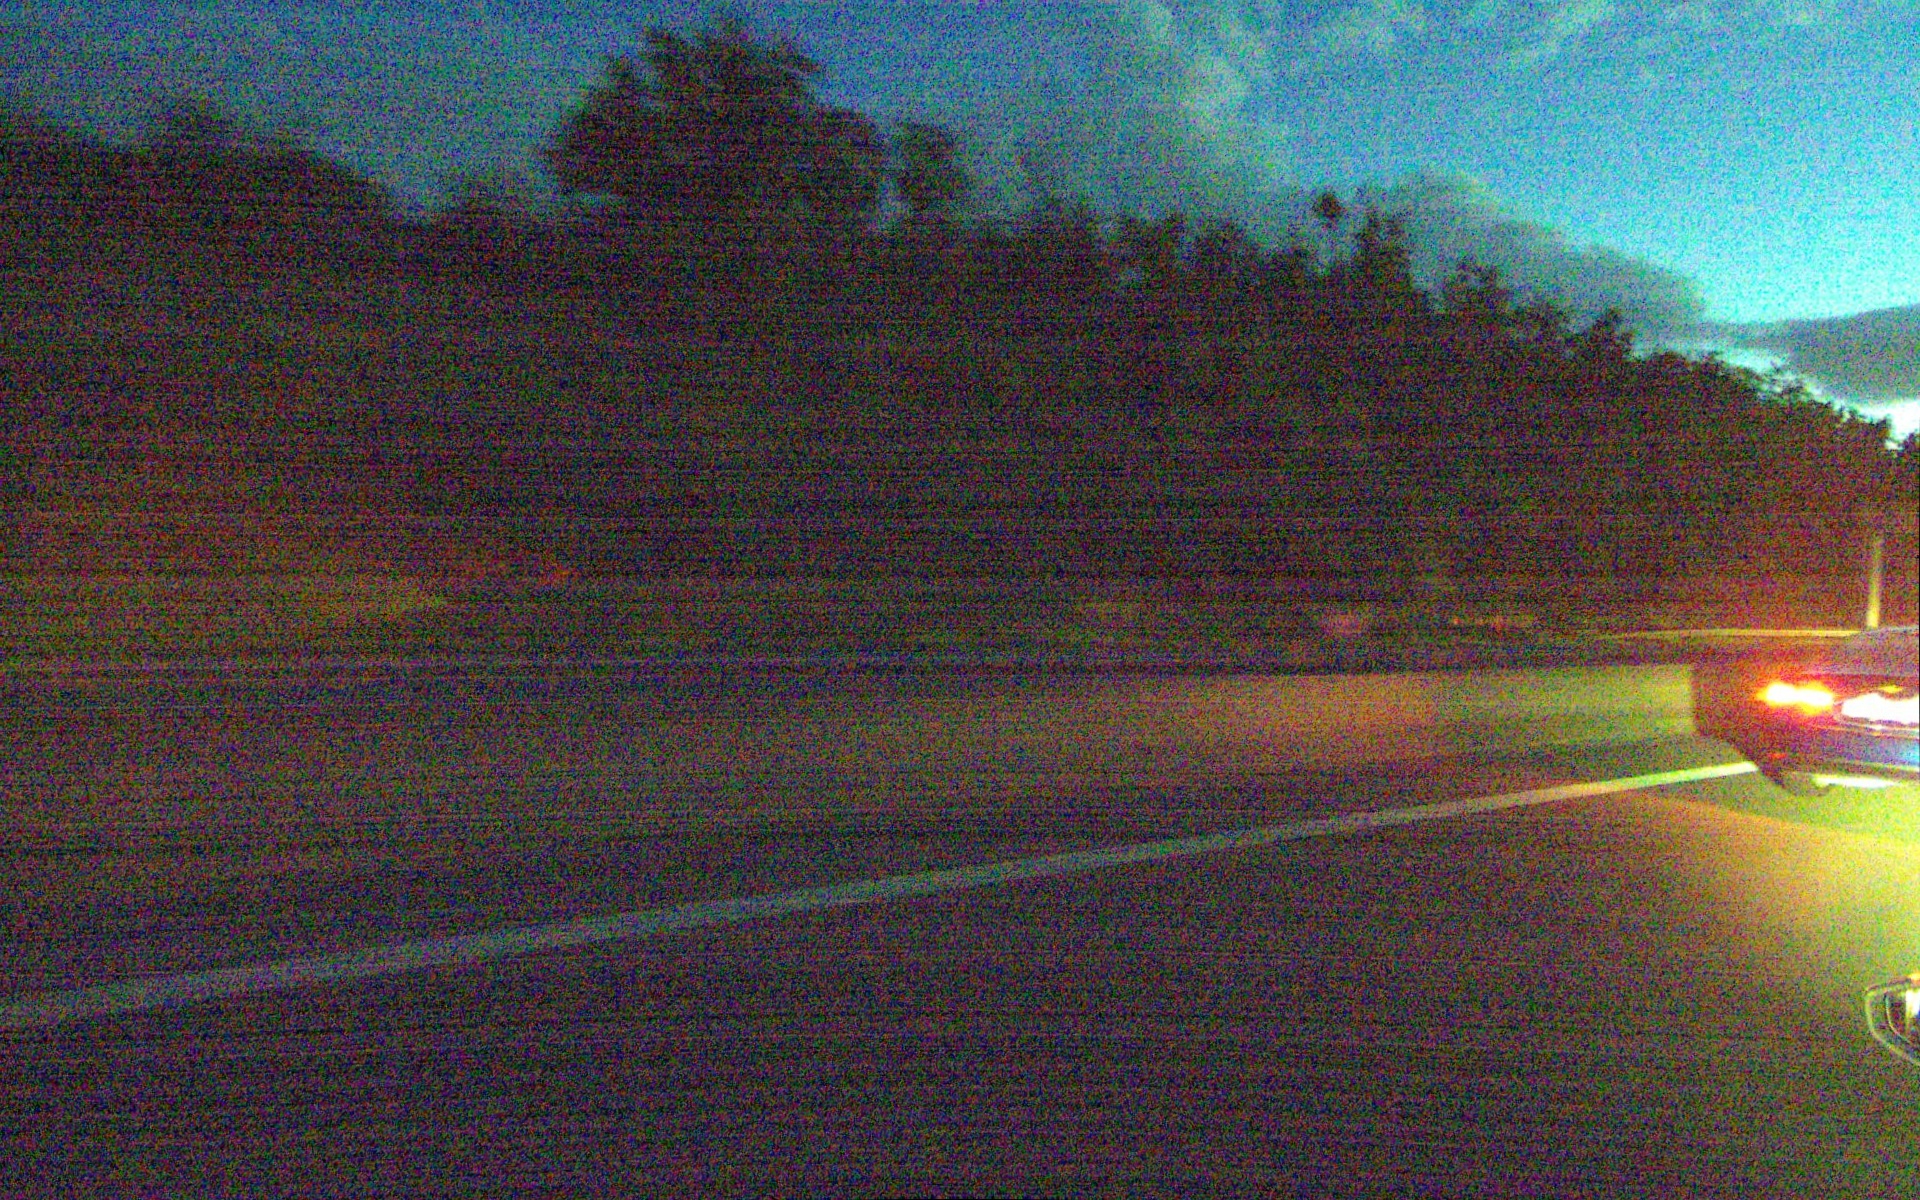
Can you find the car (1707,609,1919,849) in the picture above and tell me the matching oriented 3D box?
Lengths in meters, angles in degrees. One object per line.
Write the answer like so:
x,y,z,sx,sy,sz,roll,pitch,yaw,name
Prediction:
8.695,0.877,8.311,5.583,1.539,1.984,0,1,-30,car
